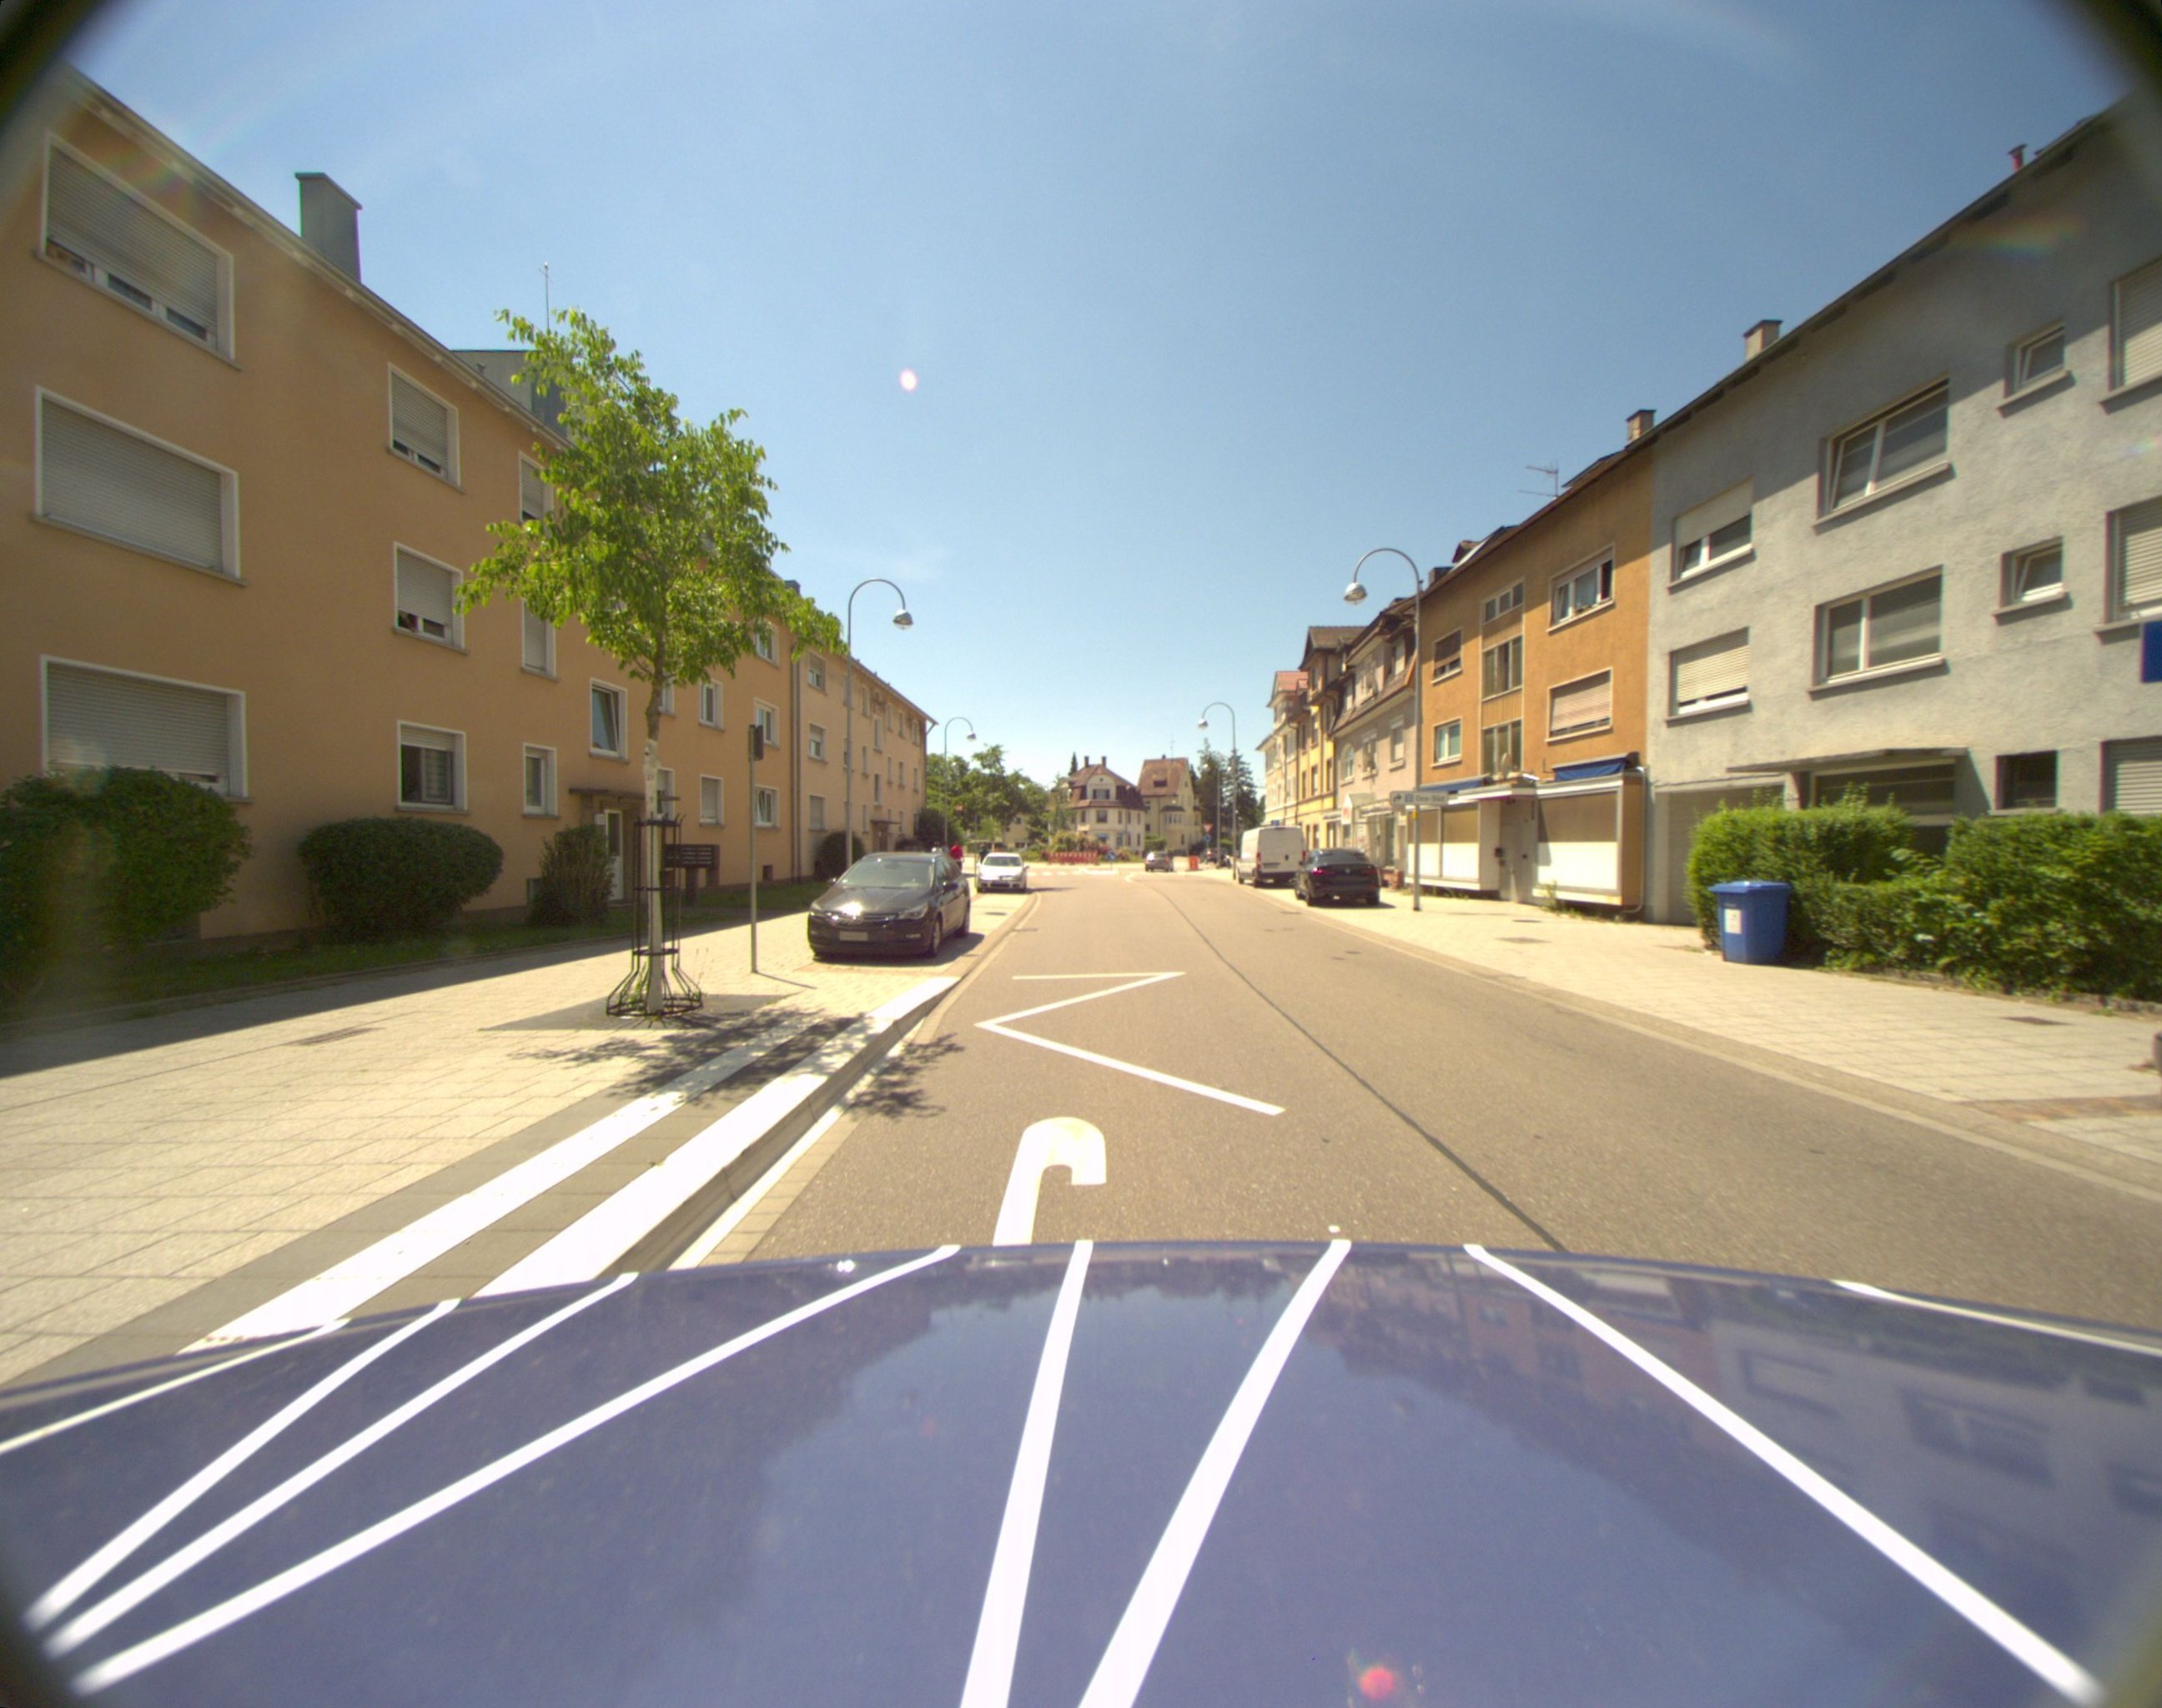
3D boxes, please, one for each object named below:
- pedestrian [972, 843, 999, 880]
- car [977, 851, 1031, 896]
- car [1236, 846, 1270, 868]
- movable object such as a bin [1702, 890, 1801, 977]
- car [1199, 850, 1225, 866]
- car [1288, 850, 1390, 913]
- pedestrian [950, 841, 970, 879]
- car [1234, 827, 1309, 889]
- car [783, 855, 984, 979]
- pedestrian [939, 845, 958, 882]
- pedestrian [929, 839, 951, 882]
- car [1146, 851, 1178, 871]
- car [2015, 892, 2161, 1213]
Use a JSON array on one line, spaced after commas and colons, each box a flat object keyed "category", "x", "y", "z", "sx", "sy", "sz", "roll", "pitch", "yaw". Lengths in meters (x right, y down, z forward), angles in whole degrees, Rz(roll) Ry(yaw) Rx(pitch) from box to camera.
[{"category": "pedestrian", "x": -4.682, "y": 0.355, "z": 37.373, "sx": 1.174, "sy": 1.723, "sz": 1.190, "roll": 3, "pitch": 1, "yaw": -4}, {"category": "car", "x": -2.857, "y": 0.670, "z": 28.998, "sx": 1.818, "sy": 1.468, "sz": 4.504, "roll": 1, "pitch": 1, "yaw": -3}, {"category": "car", "x": 12.427, "y": 0.225, "z": 55.069, "sx": 1.798, "sy": 1.494, "sz": 4.948, "roll": -1, "pitch": 0, "yaw": 5}, {"category": "movable object such as a bin", "x": 8.616, "y": 1.004, "z": 9.789, "sx": 0.674, "sy": 1.041, "sz": 0.652, "roll": 1, "pitch": 1, "yaw": 0}, {"category": "car", "x": 13.178, "y": 0.380, "z": 76.607, "sx": 1.800, "sy": 1.481, "sz": 4.388, "roll": -1, "pitch": 2, "yaw": -1}, {"category": "car", "x": 7.424, "y": 0.717, "z": 22.392, "sx": 2.089, "sy": 1.605, "sz": 5.112, "roll": -1, "pitch": 0, "yaw": 10}, {"category": "pedestrian", "x": -5.883, "y": 0.301, "z": 37.038, "sx": 0.790, "sy": 1.801, "sz": 1.005, "roll": 2, "pitch": 1, "yaw": -3}, {"category": "car", "x": 8.228, "y": 0.126, "z": 33.512, "sx": 2.124, "sy": 2.435, "sz": 6.119, "roll": -2, "pitch": 1, "yaw": 4}, {"category": "car", "x": -2.863, "y": 0.819, "z": 12.279, "sx": 1.838, "sy": 1.495, "sz": 5.063, "roll": 2, "pitch": 0, "yaw": 1}, {"category": "pedestrian", "x": -6.542, "y": 0.456, "z": 37.495, "sx": 0.796, "sy": 1.768, "sz": 1.008, "roll": 0, "pitch": 1, "yaw": -3}, {"category": "pedestrian", "x": -6.185, "y": 0.278, "z": 33.398, "sx": 0.822, "sy": 1.843, "sz": 0.984, "roll": 0, "pitch": 1, "yaw": -3}, {"category": "car", "x": 5.960, "y": 0.510, "z": 55.526, "sx": 1.733, "sy": 1.403, "sz": 4.005, "roll": 2, "pitch": 0, "yaw": 15}, {"category": "car", "x": 5.807, "y": 0.918, "z": 1.952, "sx": 1.791, "sy": 1.450, "sz": 4.199, "roll": -3, "pitch": 0, "yaw": 5}]
